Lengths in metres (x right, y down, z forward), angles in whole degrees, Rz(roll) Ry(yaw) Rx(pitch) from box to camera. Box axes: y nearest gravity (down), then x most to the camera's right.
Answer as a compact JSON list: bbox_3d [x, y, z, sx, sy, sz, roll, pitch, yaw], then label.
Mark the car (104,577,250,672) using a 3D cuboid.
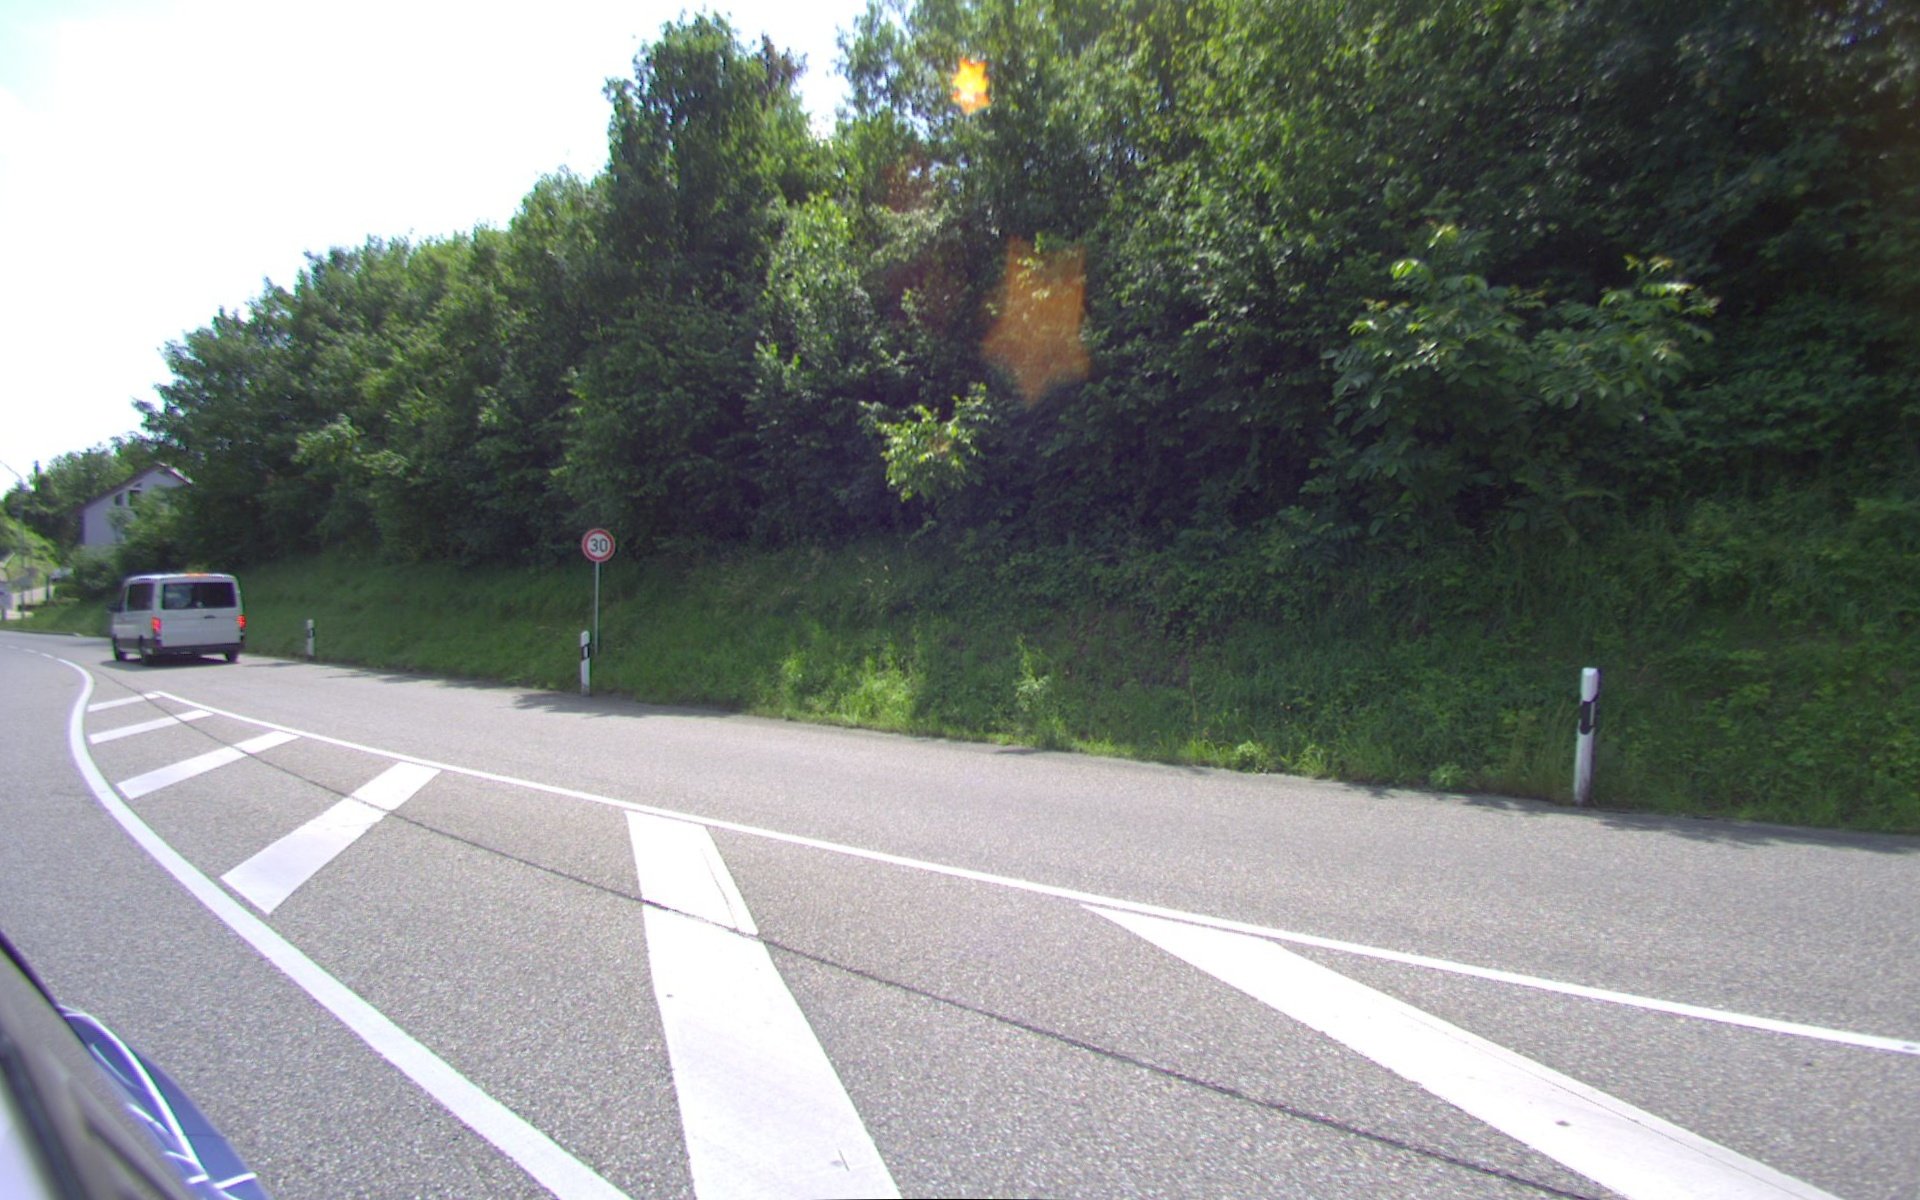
[{"bbox_3d":[-21.183,0.697,27.269,5.944,2.308,2.064,-2,-2,42],"label":"car"}]
